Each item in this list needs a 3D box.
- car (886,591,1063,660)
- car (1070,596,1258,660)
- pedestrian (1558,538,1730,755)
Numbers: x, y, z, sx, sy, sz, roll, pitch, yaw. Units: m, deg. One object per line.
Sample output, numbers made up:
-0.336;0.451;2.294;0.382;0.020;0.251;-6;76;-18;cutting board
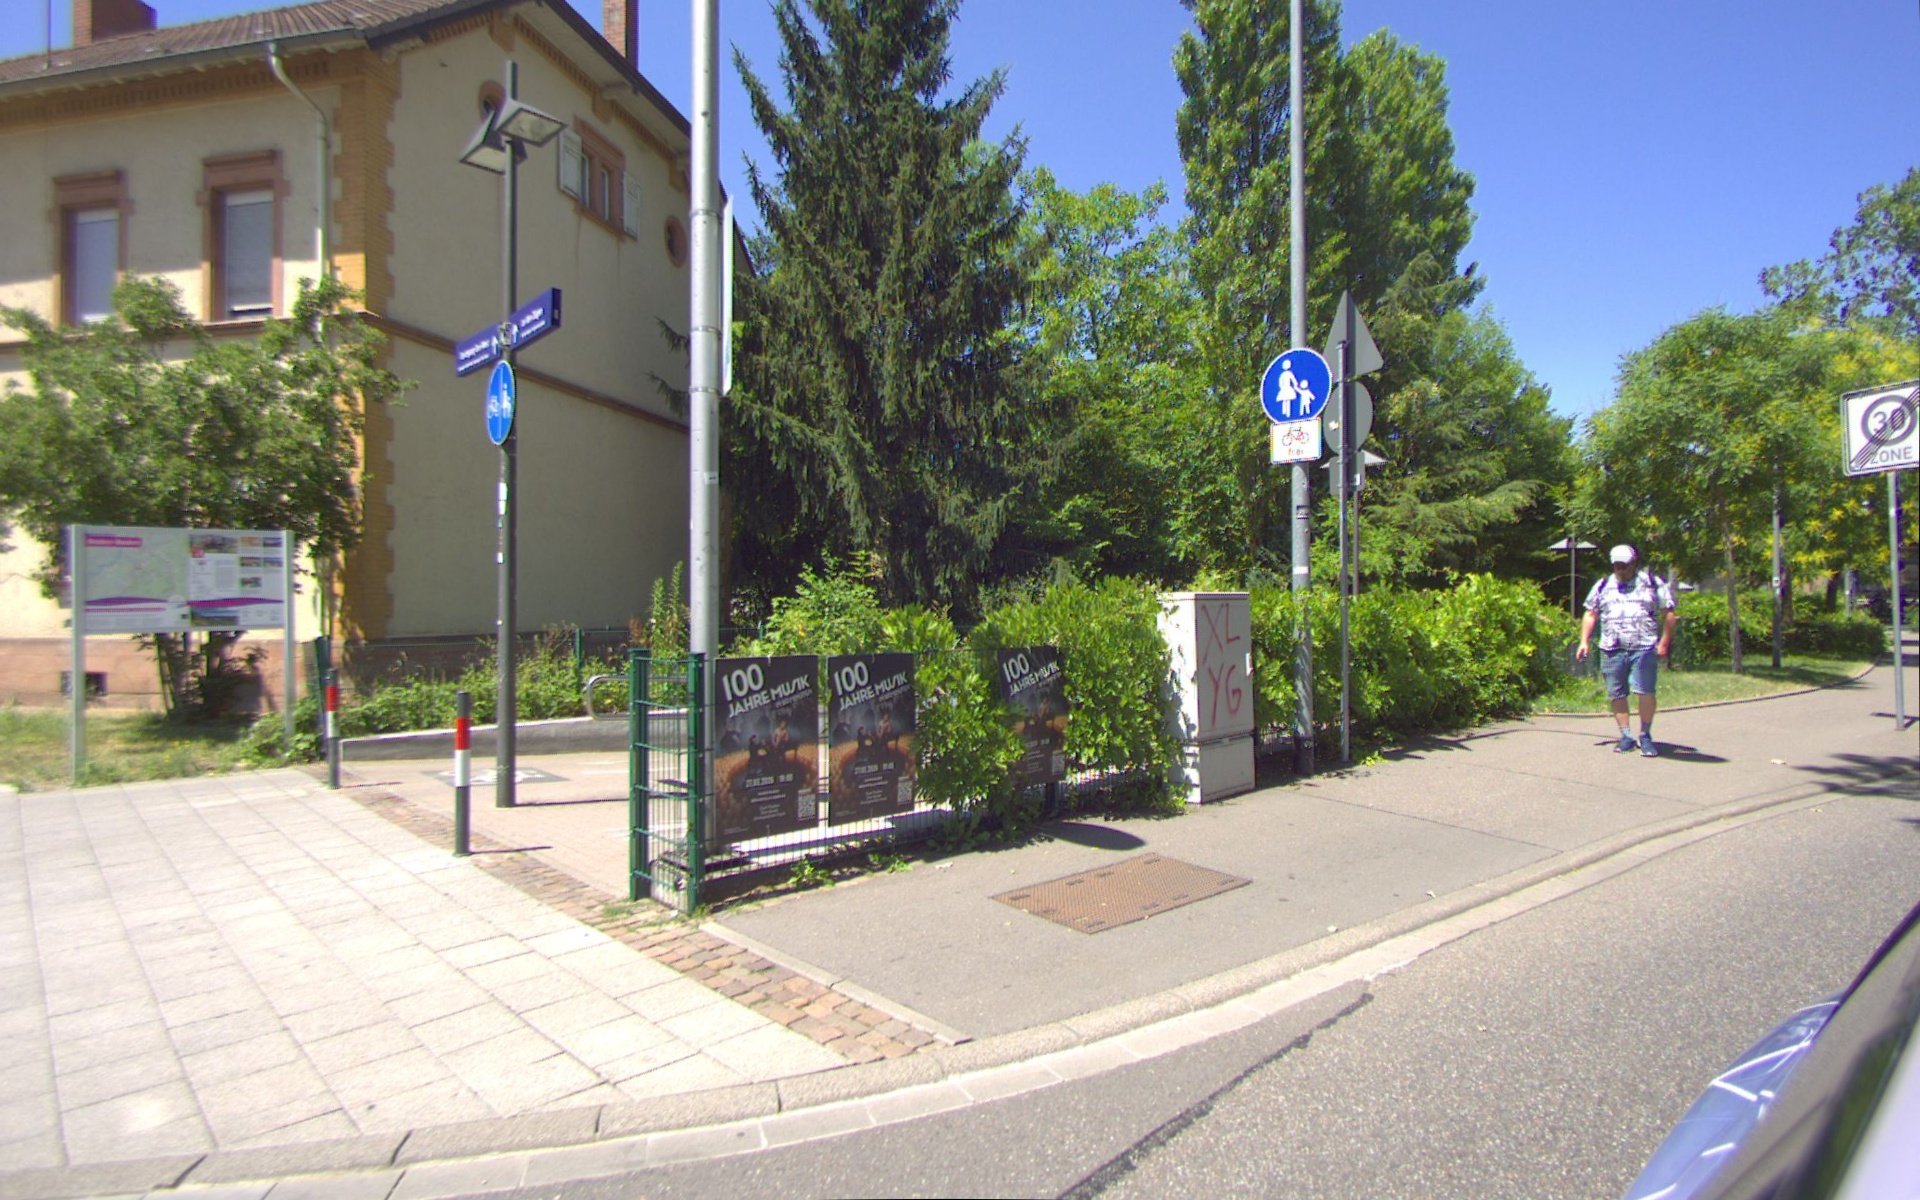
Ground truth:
0.348;0.594;24.100;3.917;1.555;1.646;-1;-1;18;car
5.096;0.692;25.372;4.433;1.519;1.762;-1;0;15;car
6.039;0.365;8.967;0.896;1.794;0.917;0;1;-26;pedestrian
